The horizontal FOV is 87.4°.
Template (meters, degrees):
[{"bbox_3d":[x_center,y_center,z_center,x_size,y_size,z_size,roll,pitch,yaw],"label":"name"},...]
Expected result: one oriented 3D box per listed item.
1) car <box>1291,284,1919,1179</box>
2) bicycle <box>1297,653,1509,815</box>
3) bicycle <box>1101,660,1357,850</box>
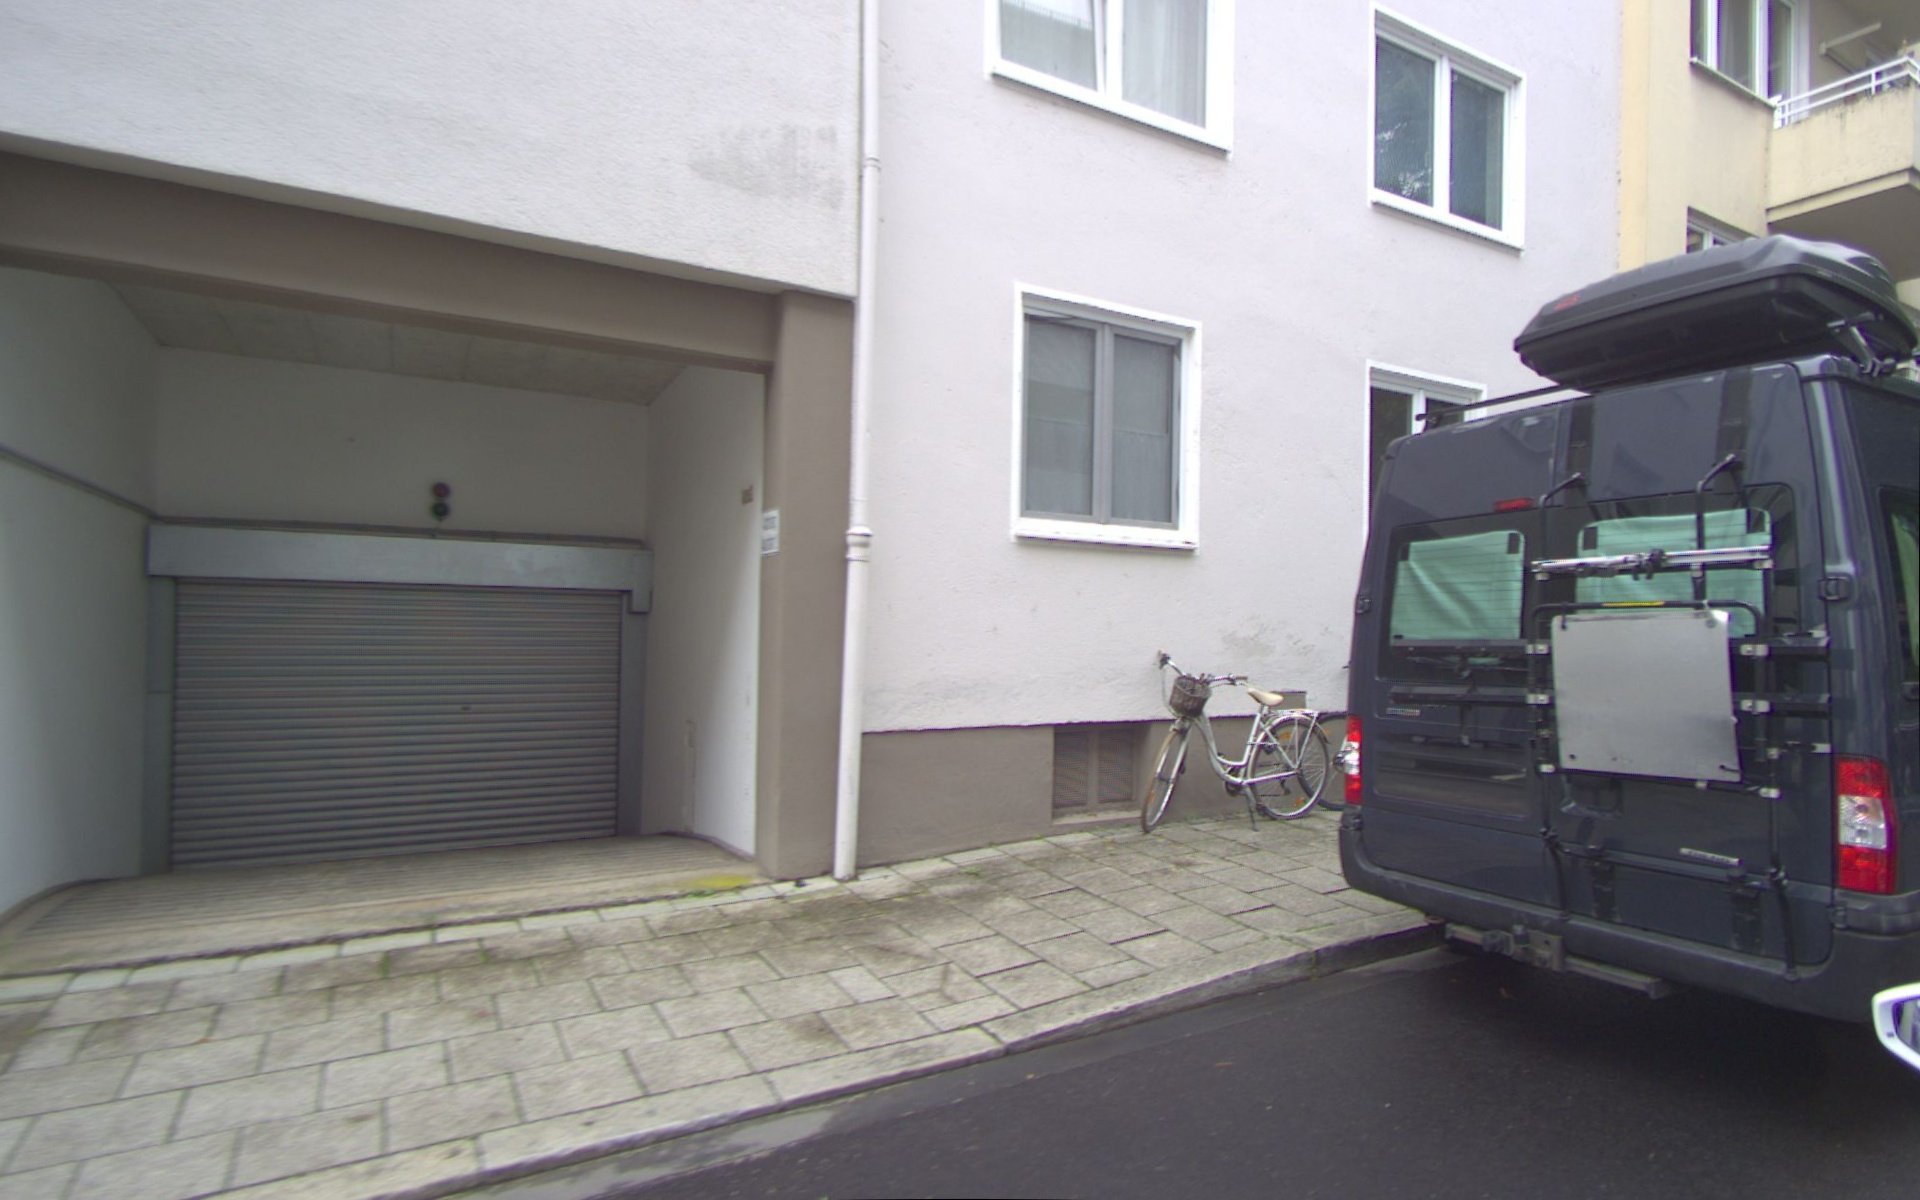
[{"bbox_3d":[4.225,0.438,4.826,5.327,2.308,2.009,2,-3,-30],"label":"car"},{"bbox_3d":[3.414,0.973,7.680,1.847,1.112,0.461,2,0,-29],"label":"bicycle"},{"bbox_3d":[1.831,0.973,6.718,1.847,1.112,0.461,2,0,-29],"label":"bicycle"}]
